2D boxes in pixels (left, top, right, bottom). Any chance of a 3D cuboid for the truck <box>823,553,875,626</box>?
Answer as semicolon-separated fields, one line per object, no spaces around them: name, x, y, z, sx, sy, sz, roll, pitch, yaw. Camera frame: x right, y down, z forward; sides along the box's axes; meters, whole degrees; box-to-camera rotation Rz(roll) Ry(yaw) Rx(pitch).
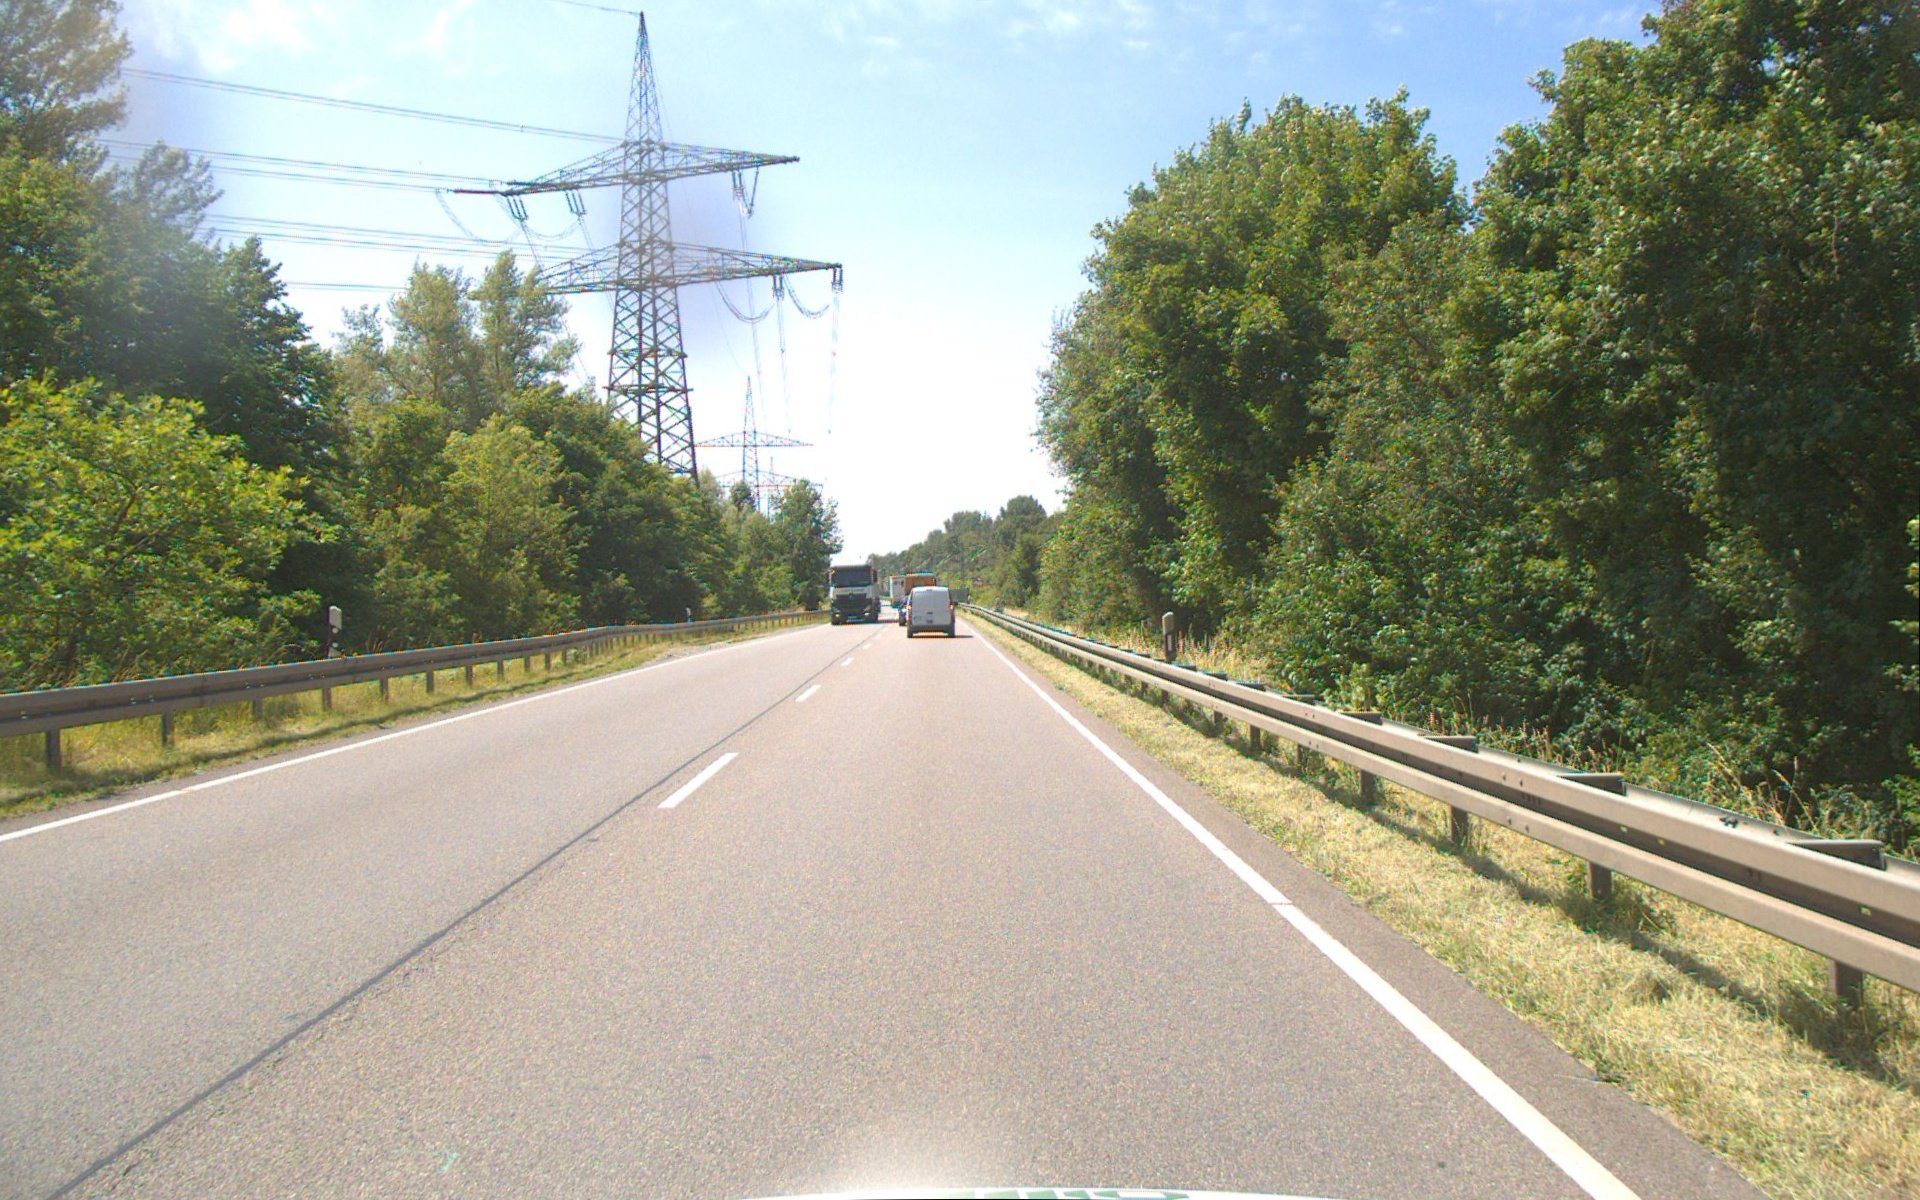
truck;-6.411;-0.592;95.954;2.707;4.069;5.905;1;0;-1

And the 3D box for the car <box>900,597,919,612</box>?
car;-5.687;0.481;184.944;1.954;1.553;3.998;-2;0;-3

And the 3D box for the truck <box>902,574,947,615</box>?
truck;-3.091;-0.577;140.444;3.231;3.227;14.396;1;1;-3

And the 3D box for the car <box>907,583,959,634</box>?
car;-0.985;0.291;59.913;1.837;1.772;3.999;0;0;-1

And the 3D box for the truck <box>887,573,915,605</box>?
truck;-7.829;-1.496;217.573;3.335;3.922;16.807;1;1;-3

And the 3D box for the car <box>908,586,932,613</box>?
car;-3.158;-0.063;128.843;1.728;2.049;3.997;0;0;-3
